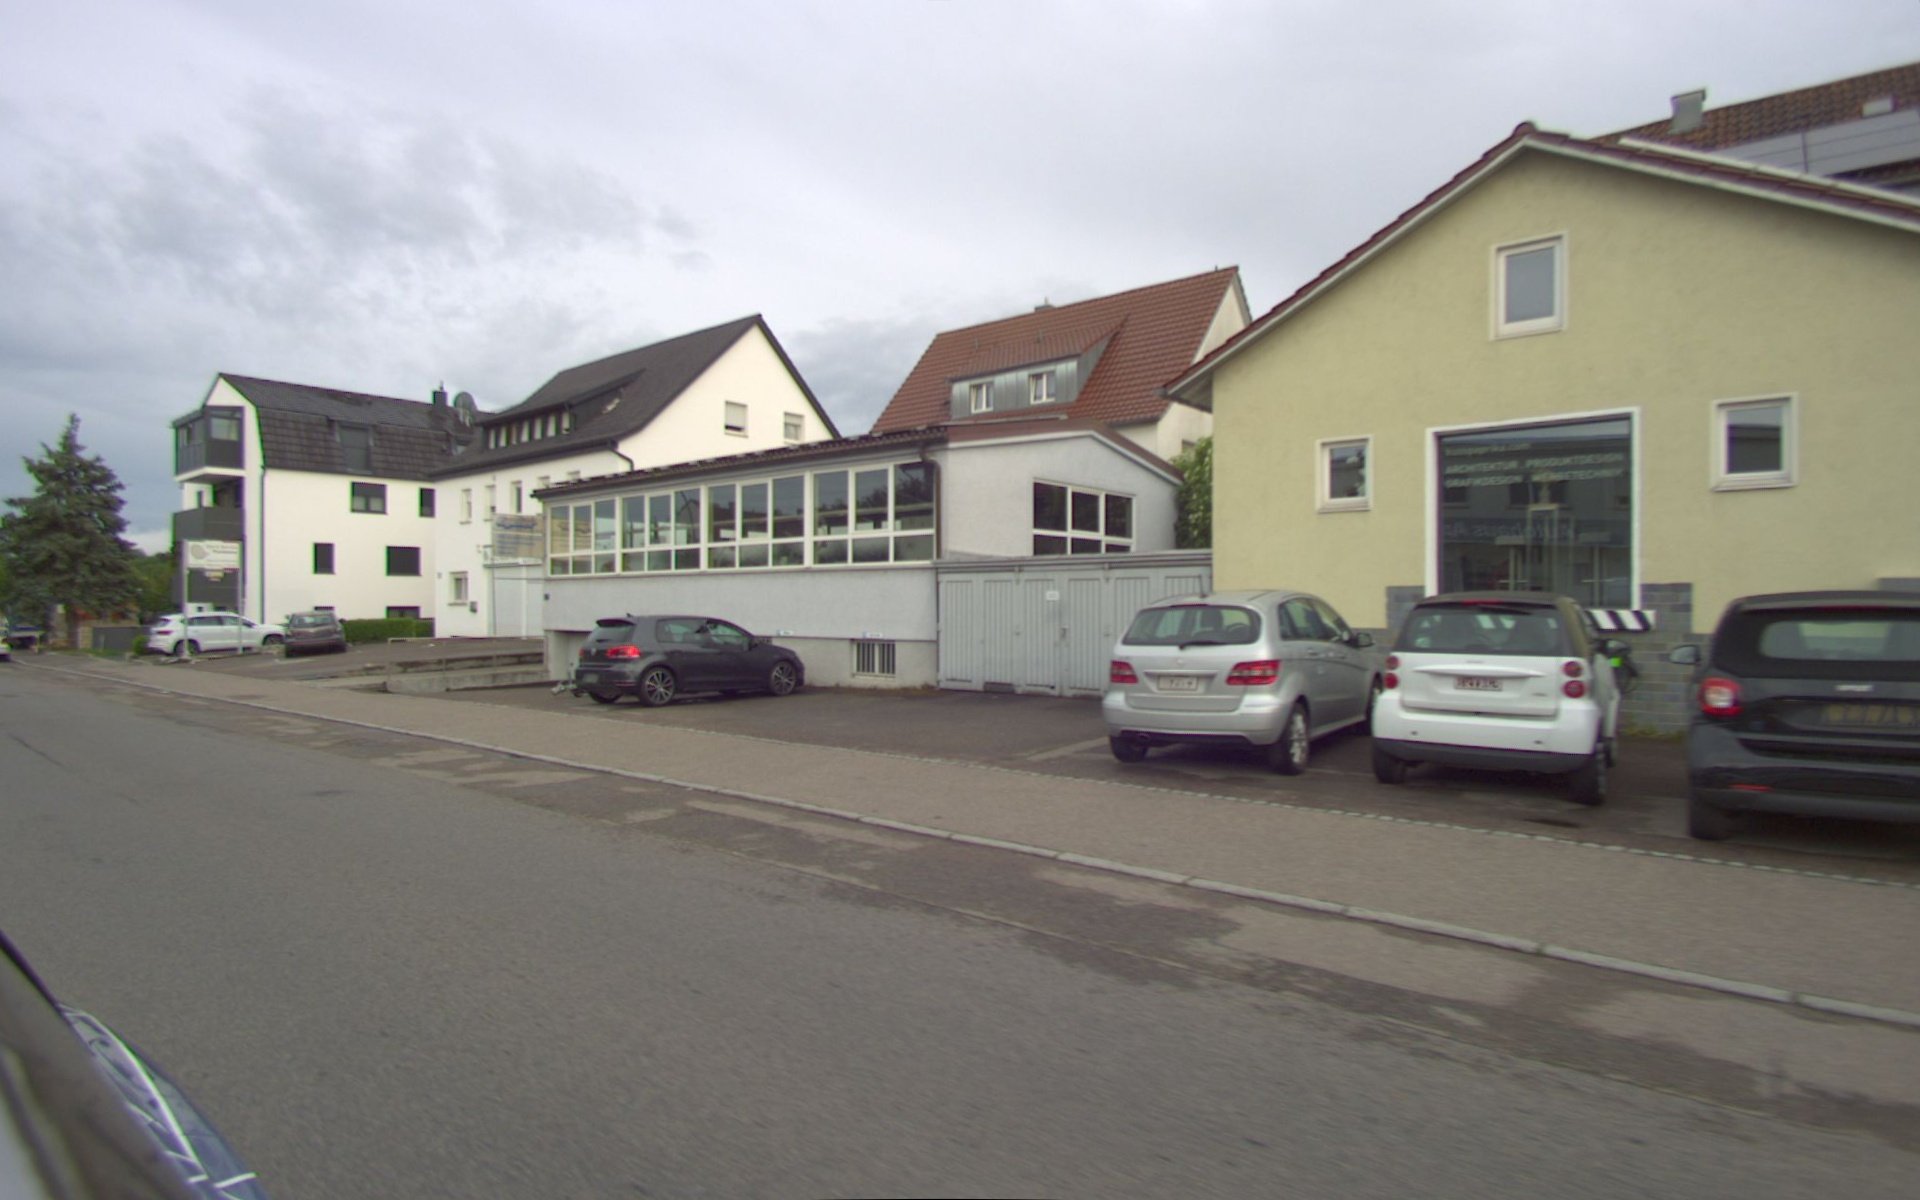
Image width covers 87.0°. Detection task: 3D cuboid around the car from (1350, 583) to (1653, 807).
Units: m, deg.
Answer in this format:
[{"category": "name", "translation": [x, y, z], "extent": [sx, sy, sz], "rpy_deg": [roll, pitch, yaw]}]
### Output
[{"category": "car", "translation": [5.072, 0.687, 9.177], "extent": [1.811, 1.544, 4.046], "rpy_deg": [-2, -1, 37]}]

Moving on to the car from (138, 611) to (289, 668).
[{"category": "car", "translation": [-26.915, 1.376, 36.600], "extent": [1.998, 1.659, 3.949], "rpy_deg": [-2, 2, 39]}]

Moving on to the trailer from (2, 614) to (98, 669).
[{"category": "trailer", "translation": [-53.875, 2.380, 59.951], "extent": [2.167, 3.069, 4.007], "rpy_deg": [-1, 0, 41]}]

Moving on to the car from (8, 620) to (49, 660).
[{"category": "car", "translation": [-58.799, 2.503, 63.848], "extent": [3.593, 2.425, 1.549], "rpy_deg": [-2, -2, 42]}]

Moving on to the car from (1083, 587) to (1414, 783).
[{"category": "car", "translation": [3.087, 0.696, 10.218], "extent": [1.995, 1.544, 4.048], "rpy_deg": [-1, -1, 35]}]

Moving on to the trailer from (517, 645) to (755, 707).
[{"category": "trailer", "translation": [-6.214, 1.415, 19.796], "extent": [1.792, 0.950, 4.156], "rpy_deg": [-2, -1, 38]}]

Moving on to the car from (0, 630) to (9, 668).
[{"category": "car", "translation": [-40.561, 2.032, 41.643], "extent": [3.869, 1.516, 1.718], "rpy_deg": [-2, -2, 41]}]

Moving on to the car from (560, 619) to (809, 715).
[{"category": "car", "translation": [-4.629, 1.063, 17.395], "extent": [1.766, 1.449, 3.834], "rpy_deg": [-2, -2, 40]}]

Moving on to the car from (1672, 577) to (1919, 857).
[{"category": "car", "translation": [6.208, 0.652, 7.243], "extent": [1.752, 1.514, 4.048], "rpy_deg": [-2, -1, 35]}]

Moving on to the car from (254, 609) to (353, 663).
[{"category": "car", "translation": [-22.365, 1.193, 34.430], "extent": [4.000, 1.541, 1.800], "rpy_deg": [-1, 4, 43]}]
